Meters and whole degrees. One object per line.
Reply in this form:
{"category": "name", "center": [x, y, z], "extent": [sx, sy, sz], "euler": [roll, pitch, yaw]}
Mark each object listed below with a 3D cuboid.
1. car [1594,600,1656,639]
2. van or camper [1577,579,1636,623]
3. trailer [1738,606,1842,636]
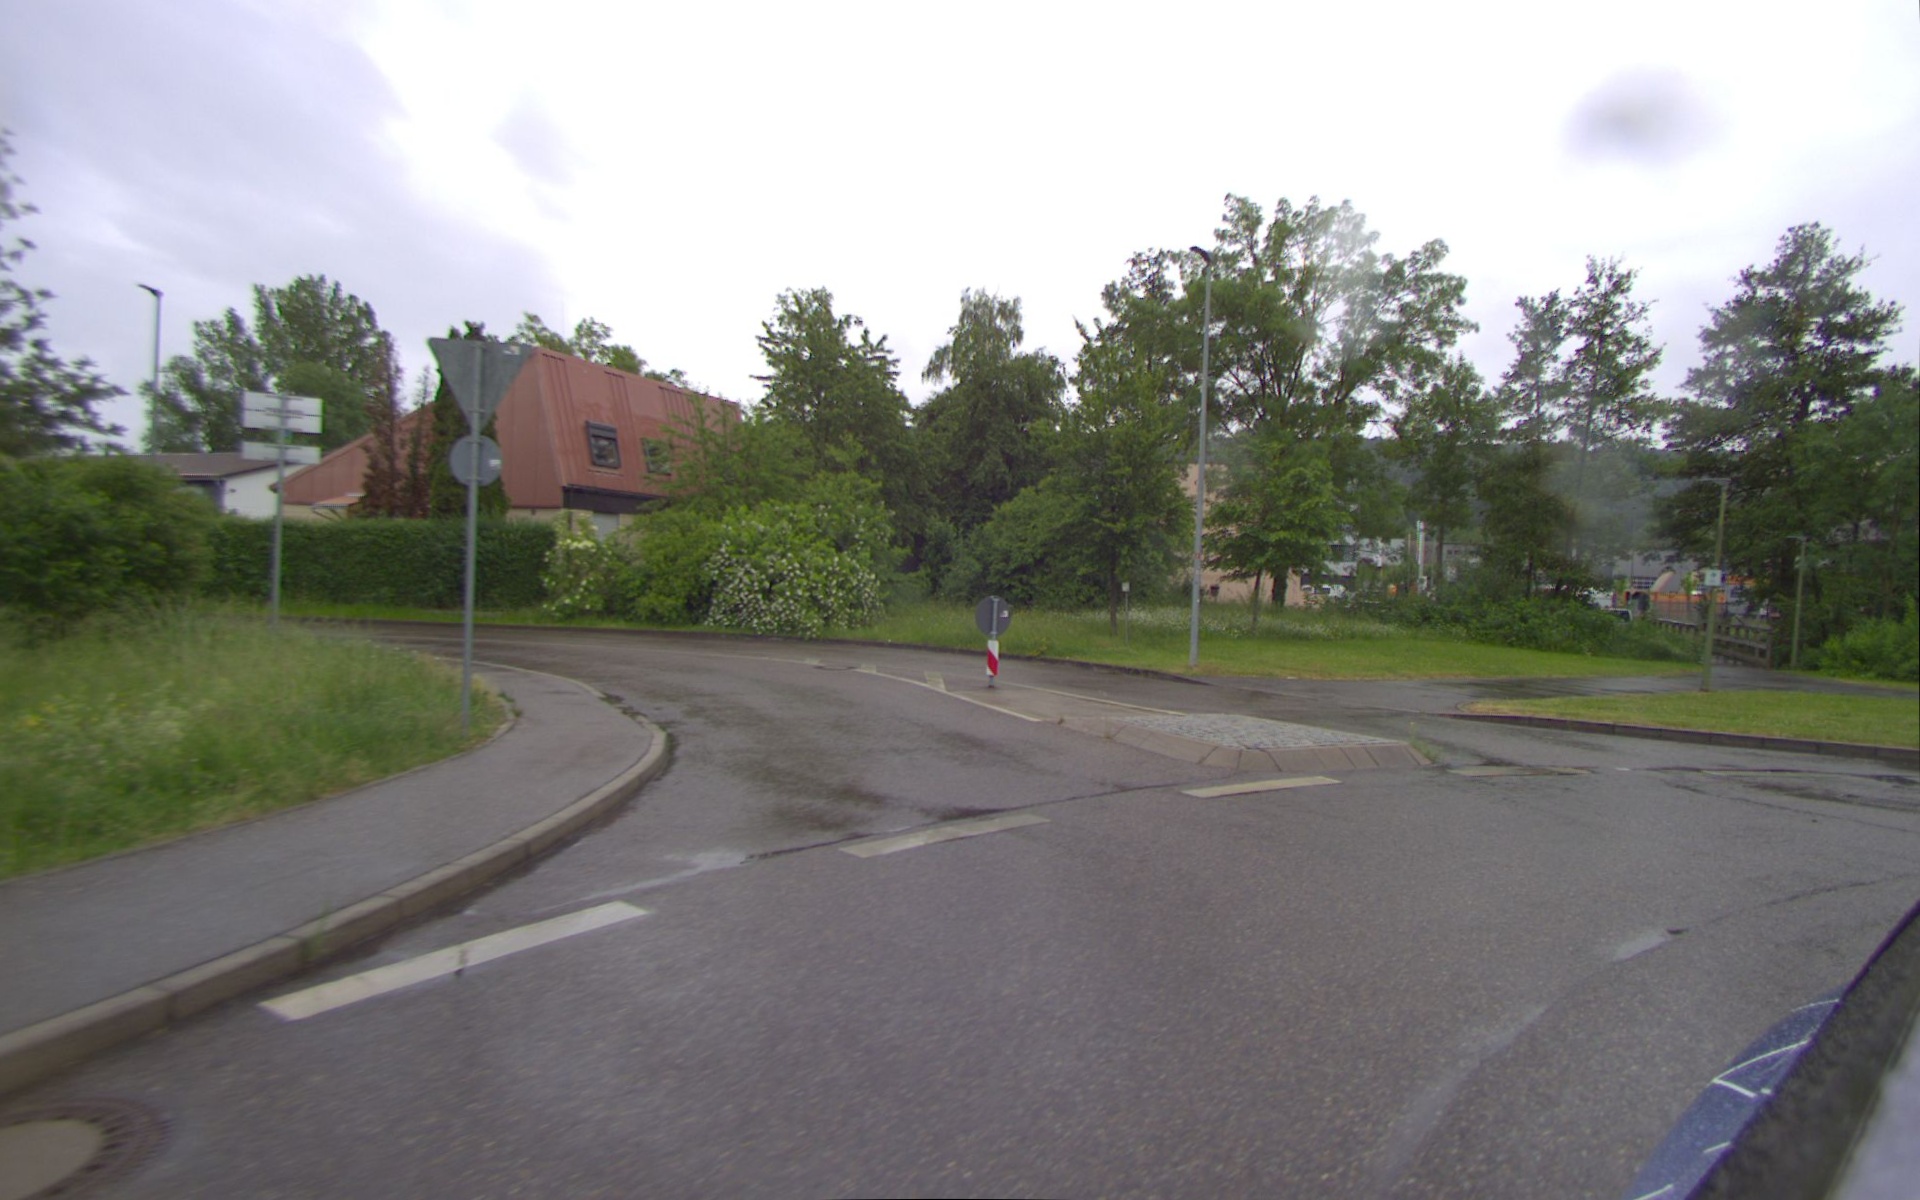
{"category": "car", "center": [33.145, 0.932, 50.533], "extent": [1.980, 1.735, 3.965], "euler": [2, 1, 25]}
{"category": "van or camper", "center": [37.633, 0.025, 59.076], "extent": [2.524, 2.271, 5.911], "euler": [5, 3, 31]}
{"category": "trailer", "center": [70.122, 1.727, 85.558], "extent": [6.615, 2.038, 2.538], "euler": [4, 3, 43]}
